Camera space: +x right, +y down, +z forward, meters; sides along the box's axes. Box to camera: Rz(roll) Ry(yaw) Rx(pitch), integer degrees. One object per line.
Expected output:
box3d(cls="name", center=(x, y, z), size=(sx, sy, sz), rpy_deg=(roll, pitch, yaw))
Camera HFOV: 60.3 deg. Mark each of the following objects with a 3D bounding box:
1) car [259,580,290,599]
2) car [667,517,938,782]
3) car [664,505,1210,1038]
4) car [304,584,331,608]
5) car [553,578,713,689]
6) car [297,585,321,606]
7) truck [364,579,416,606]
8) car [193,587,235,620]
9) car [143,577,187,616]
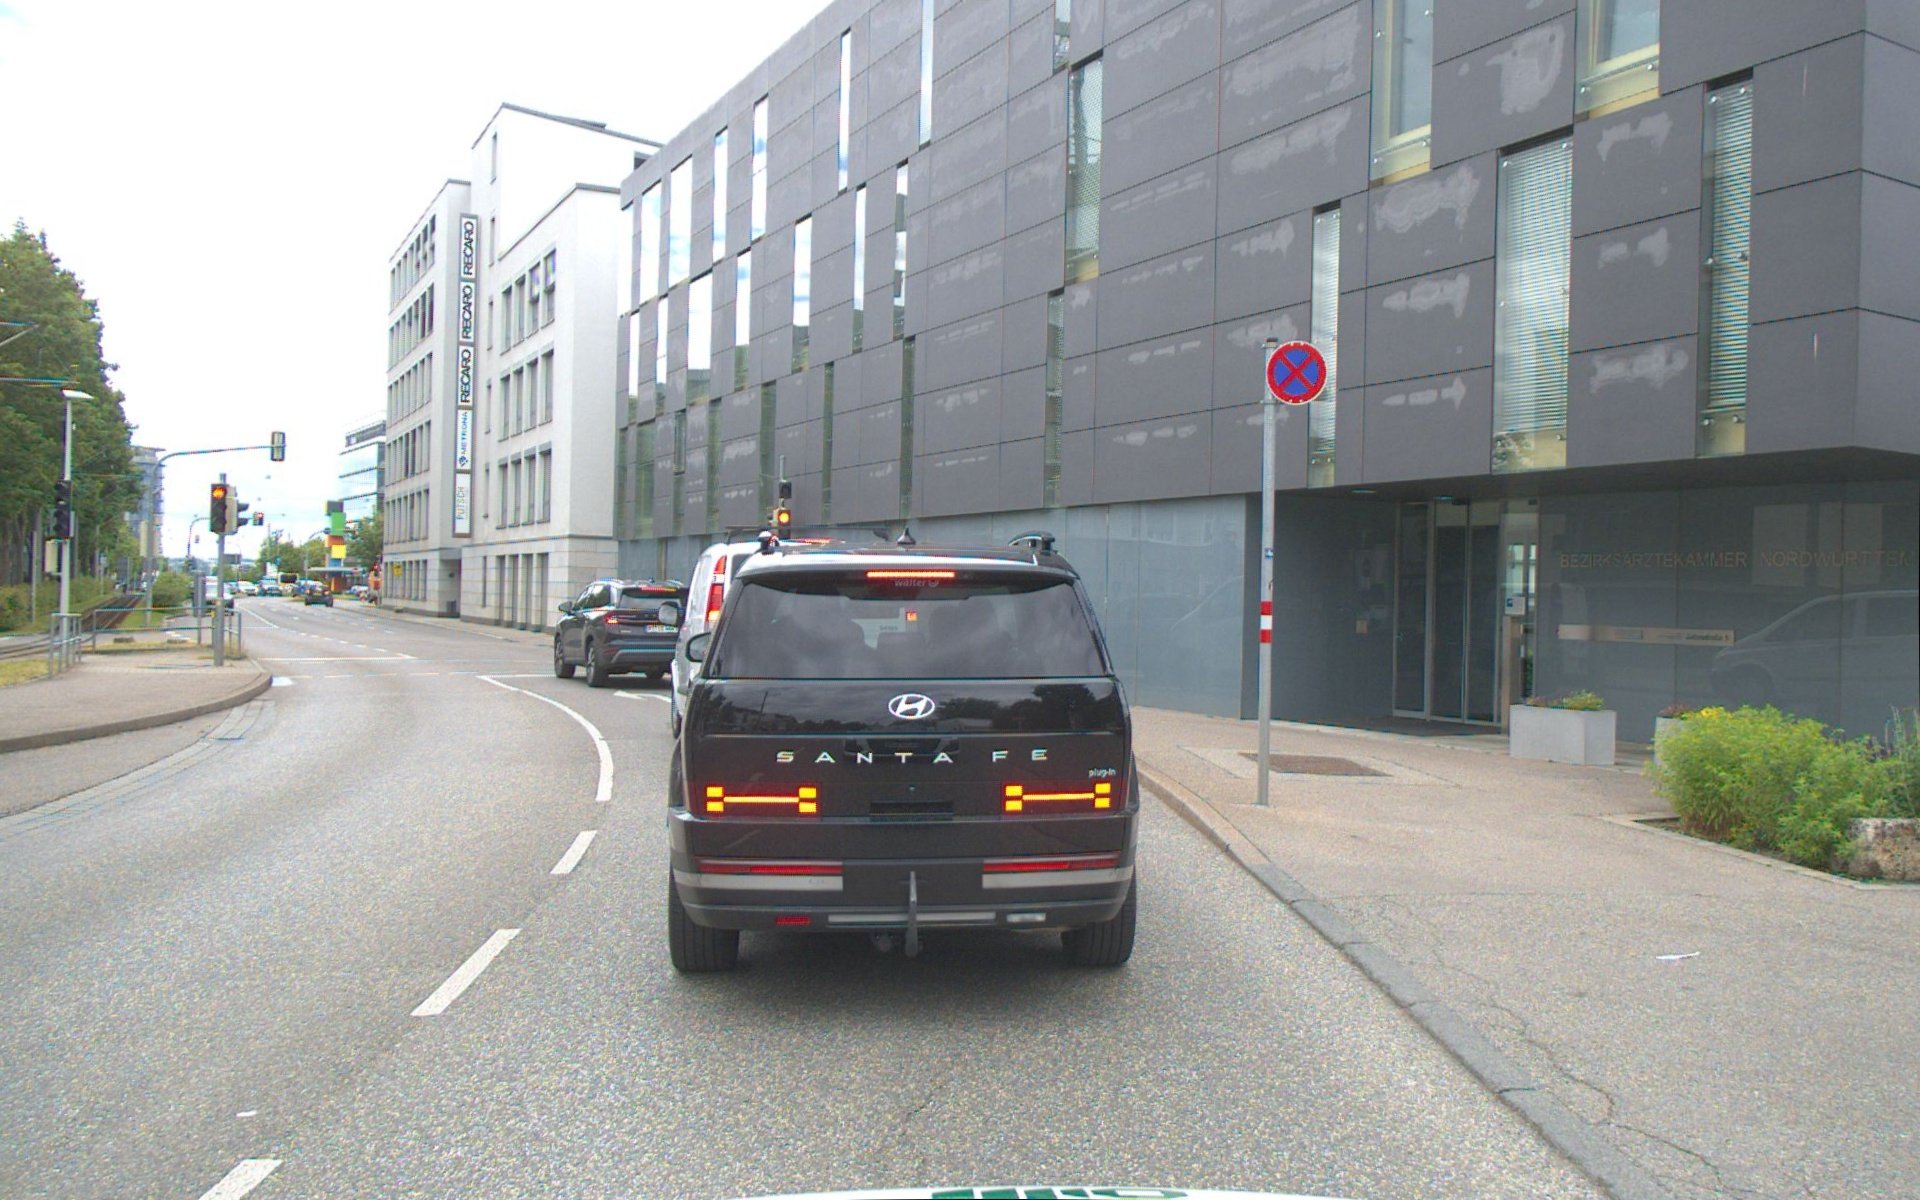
box3d(cls="car", center=(-71.080, -1.112, 171.422), size=(1.979, 1.885, 3.946), rpy_deg=(1, 0, -38))
box3d(cls="car", center=(-1.600, 0.384, 15.112), size=(1.898, 2.029, 4.520), rpy_deg=(1, 0, -13))
box3d(cls="car", center=(-0.314, 0.566, 7.830), size=(1.872, 1.780, 4.390), rpy_deg=(0, 0, -7))
box3d(cls="car", center=(-46.202, -0.303, 118.925), size=(1.735, 1.637, 4.159), rpy_deg=(1, 0, -23))
box3d(cls="car", center=(-5.367, 0.493, 26.786), size=(1.735, 1.637, 4.159), rpy_deg=(1, 0, -23))
box3d(cls="car", center=(-53.300, -0.368, 135.378), size=(1.735, 1.637, 4.159), rpy_deg=(1, 0, -23))
box3d(cls="truck", center=(-45.355, -0.622, 131.463), size=(1.980, 2.049, 6.316), rpy_deg=(1, 0, -38))
box3d(cls="car", center=(-35.975, 0.147, 79.814), size=(1.744, 1.504, 3.971), rpy_deg=(-1, 0, -23))
box3d(cls="car", center=(-38.453, -0.181, 80.058), size=(1.658, 1.840, 4.321), rpy_deg=(-1, 0, -23))
